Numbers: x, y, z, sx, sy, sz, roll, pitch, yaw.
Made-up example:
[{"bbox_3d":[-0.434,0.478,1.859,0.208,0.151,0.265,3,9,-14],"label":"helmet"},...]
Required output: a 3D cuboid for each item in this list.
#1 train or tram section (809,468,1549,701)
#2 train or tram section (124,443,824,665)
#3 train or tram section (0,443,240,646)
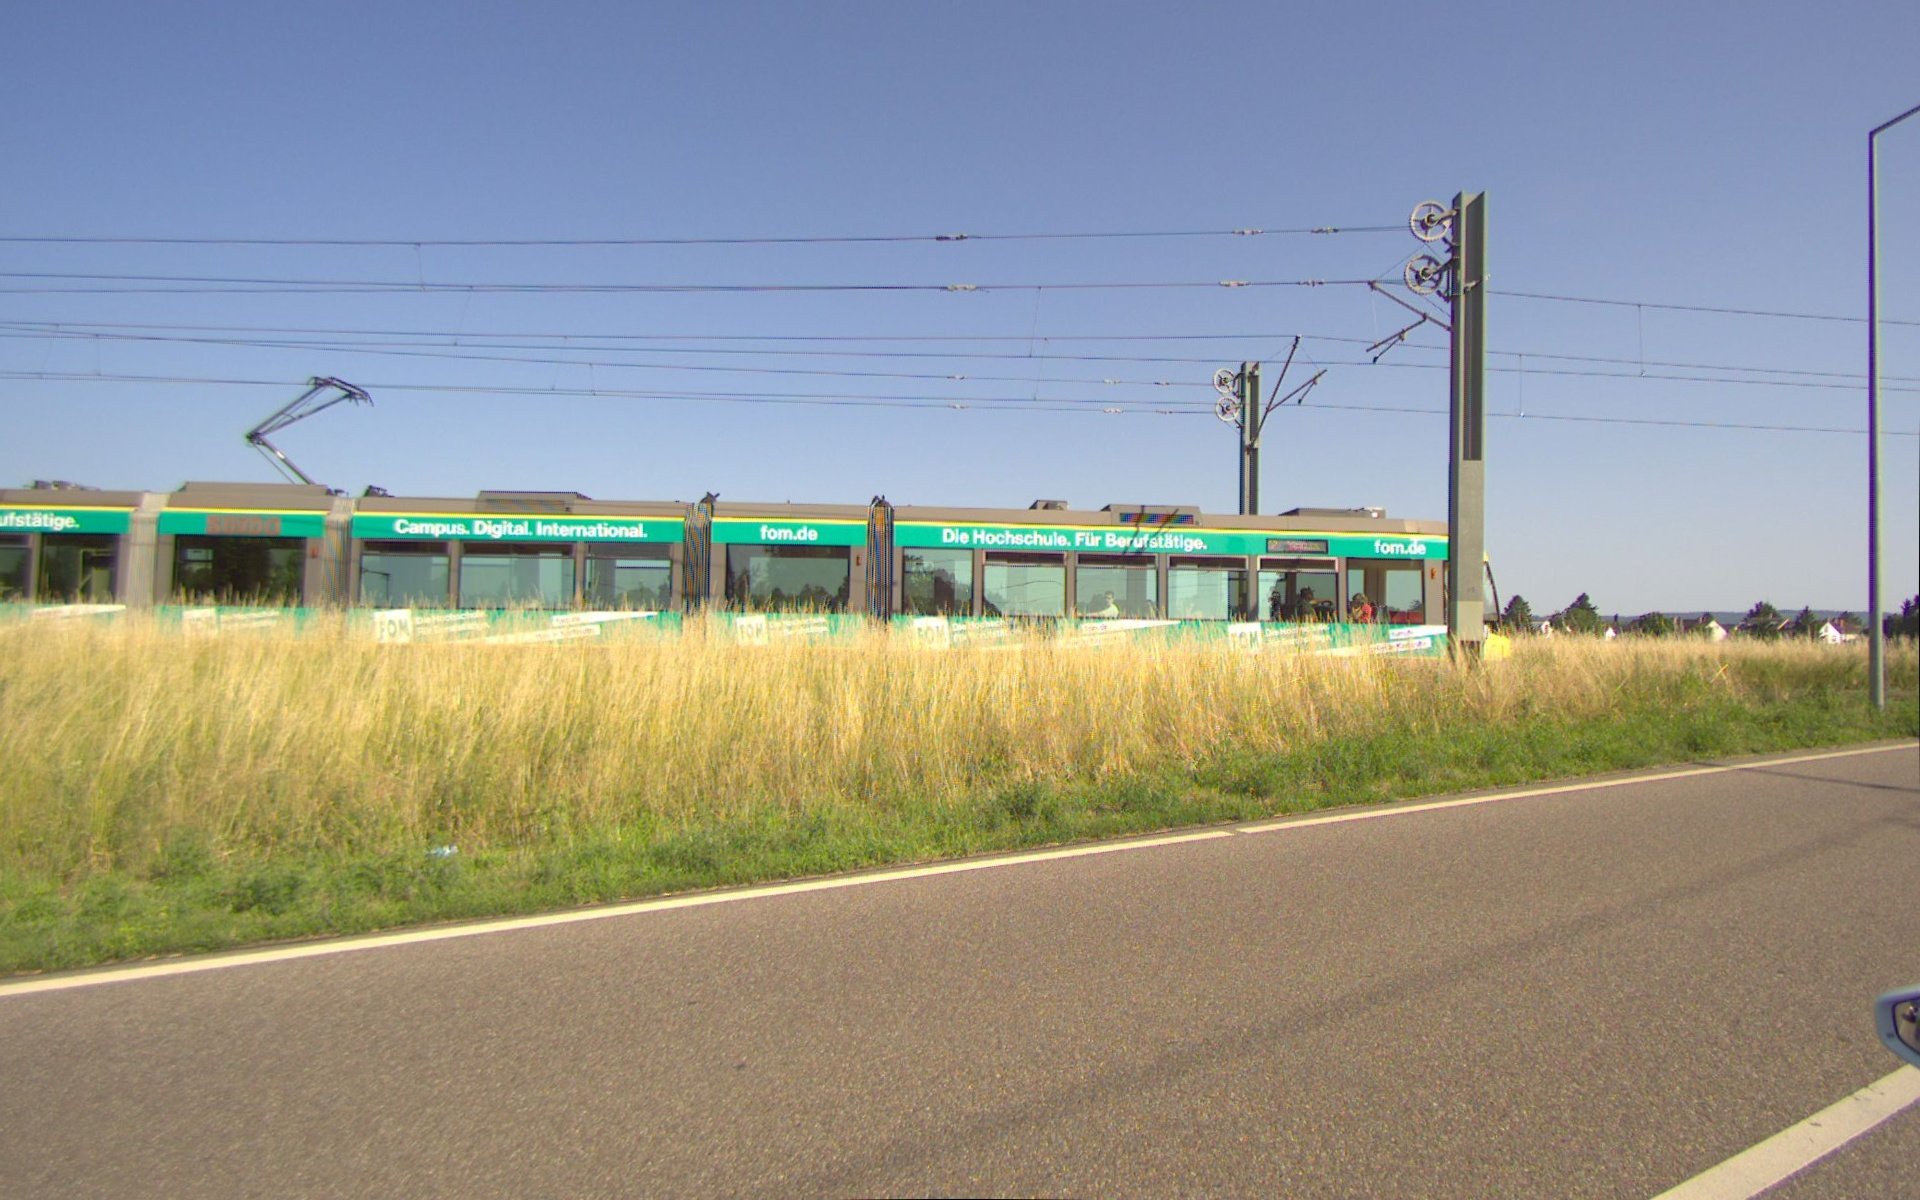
[{"bbox_3d":[4.203,-0.230,20.330,13.988,3.615,2.915,3,0,-4],"label":"train or tram section"},{"bbox_3d":[-8.844,-0.782,19.546,11.930,3.500,2.926,2,0,-3],"label":"train or tram section"},{"bbox_3d":[-20.838,-1.099,19.096,11.927,3.531,2.959,2,0,-1],"label":"train or tram section"}]
